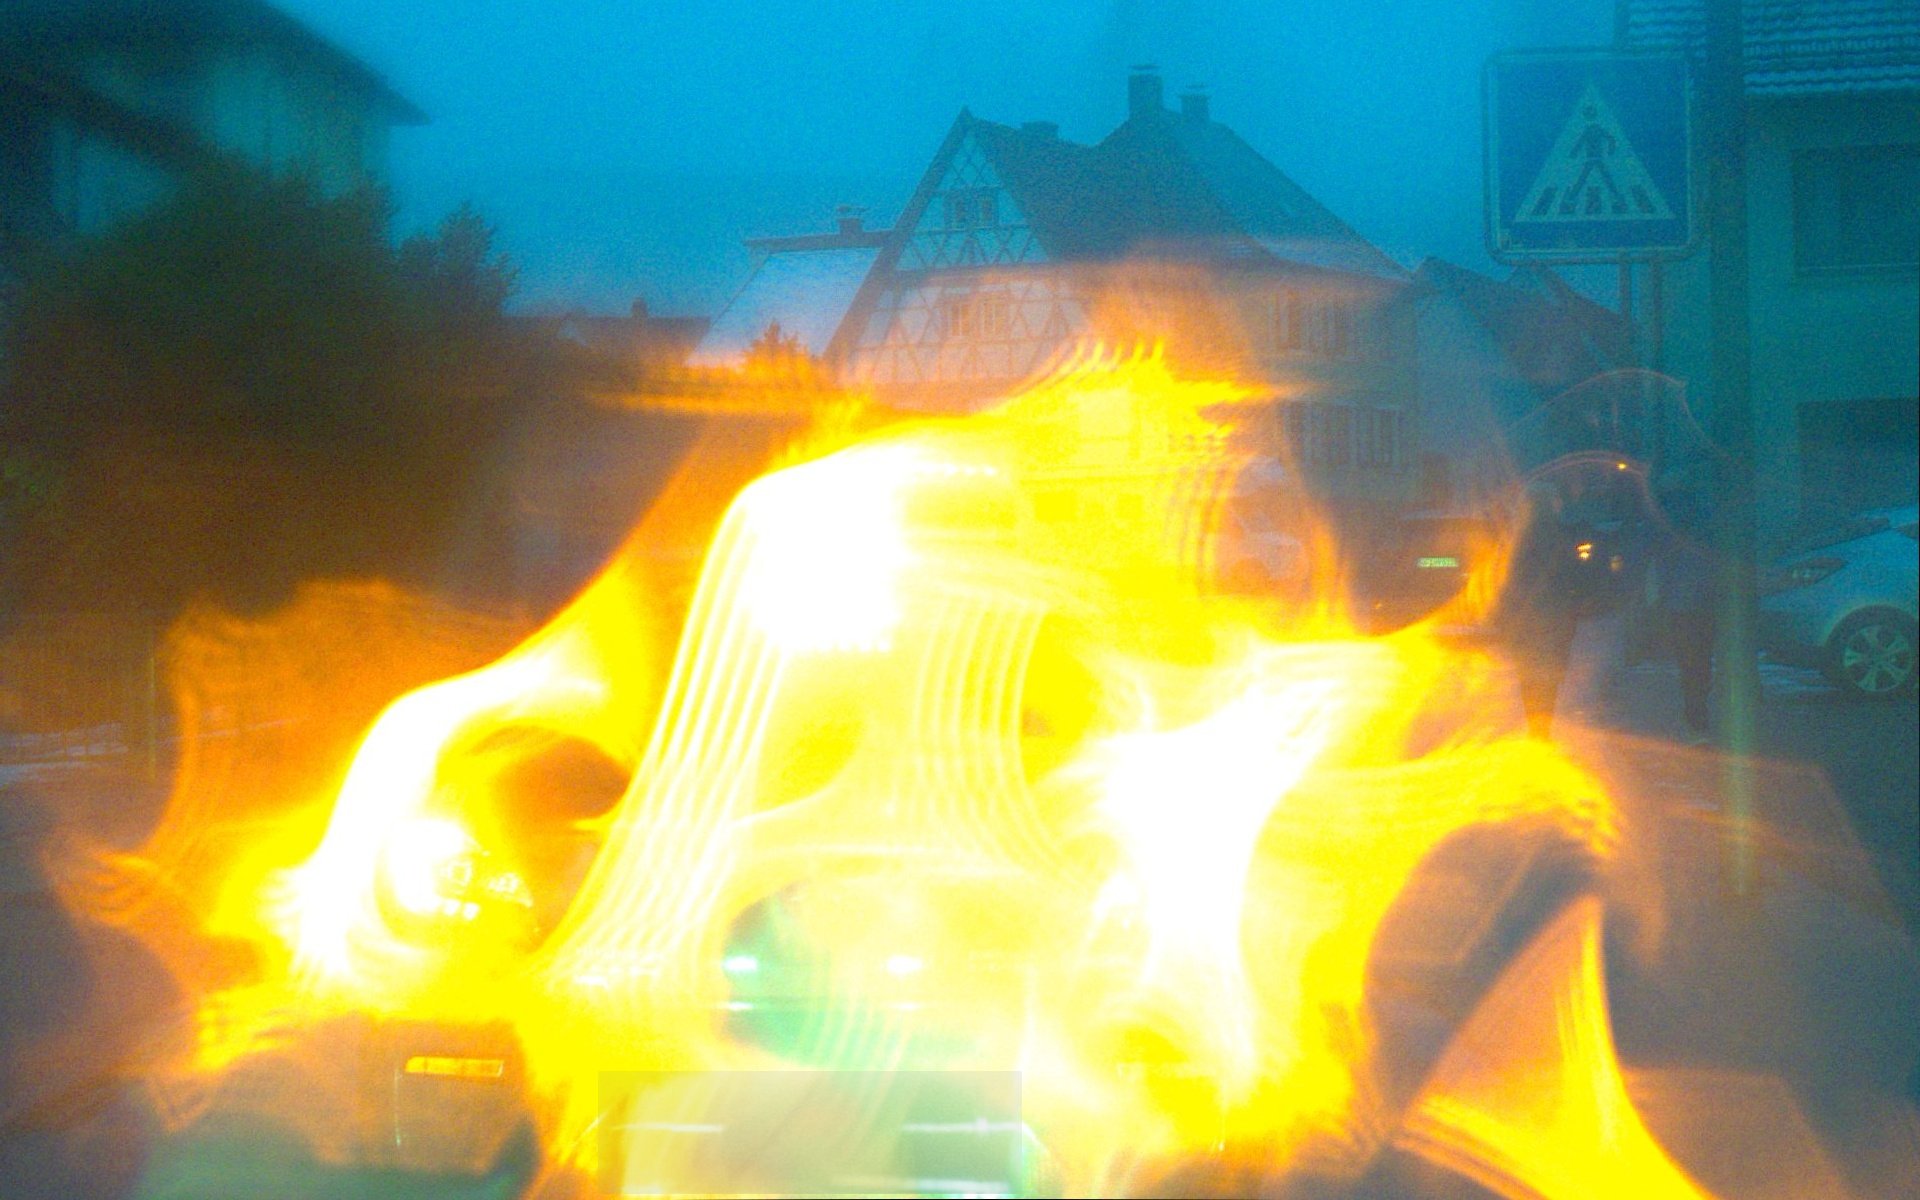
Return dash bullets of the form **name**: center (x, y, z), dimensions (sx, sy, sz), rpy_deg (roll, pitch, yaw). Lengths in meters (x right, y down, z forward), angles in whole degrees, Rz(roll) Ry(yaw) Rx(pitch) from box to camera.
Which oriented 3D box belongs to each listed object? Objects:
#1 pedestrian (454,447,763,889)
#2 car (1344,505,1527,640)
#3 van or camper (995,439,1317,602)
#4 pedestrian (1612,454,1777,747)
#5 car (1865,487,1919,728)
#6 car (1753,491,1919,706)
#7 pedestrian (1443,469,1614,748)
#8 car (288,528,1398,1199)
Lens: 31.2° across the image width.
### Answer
- **pedestrian**: center (-1.443, 0.265, 14.269), dimensions (0.880, 1.729, 0.955), rpy_deg (-4, 1, 15)
- **car**: center (6.140, -0.388, 44.021), dimensions (1.849, 1.631, 4.333), rpy_deg (0, 1, 14)
- **van or camper**: center (4.077, -1.627, 71.549), dimensions (6.067, 2.945, 2.403), rpy_deg (-4, 0, 23)
- **pedestrian**: center (4.561, -0.010, 21.302), dimensions (0.849, 1.727, 0.971), rpy_deg (-4, 1, 15)
- **car**: center (7.345, -0.028, 21.525), dimensions (3.066, 1.469, 1.549), rpy_deg (-2, 1, 10)
- **car**: center (7.776, -0.085, 24.719), dimensions (3.901, 1.469, 1.750), rpy_deg (-2, 1, 10)
- **pedestrian**: center (3.580, 0.040, 21.586), dimensions (0.867, 1.661, 0.991), rpy_deg (-4, 1, 14)
- **car**: center (-0.324, 0.590, 7.568), dimensions (1.795, 1.471, 4.001), rpy_deg (0, 1, -4)
